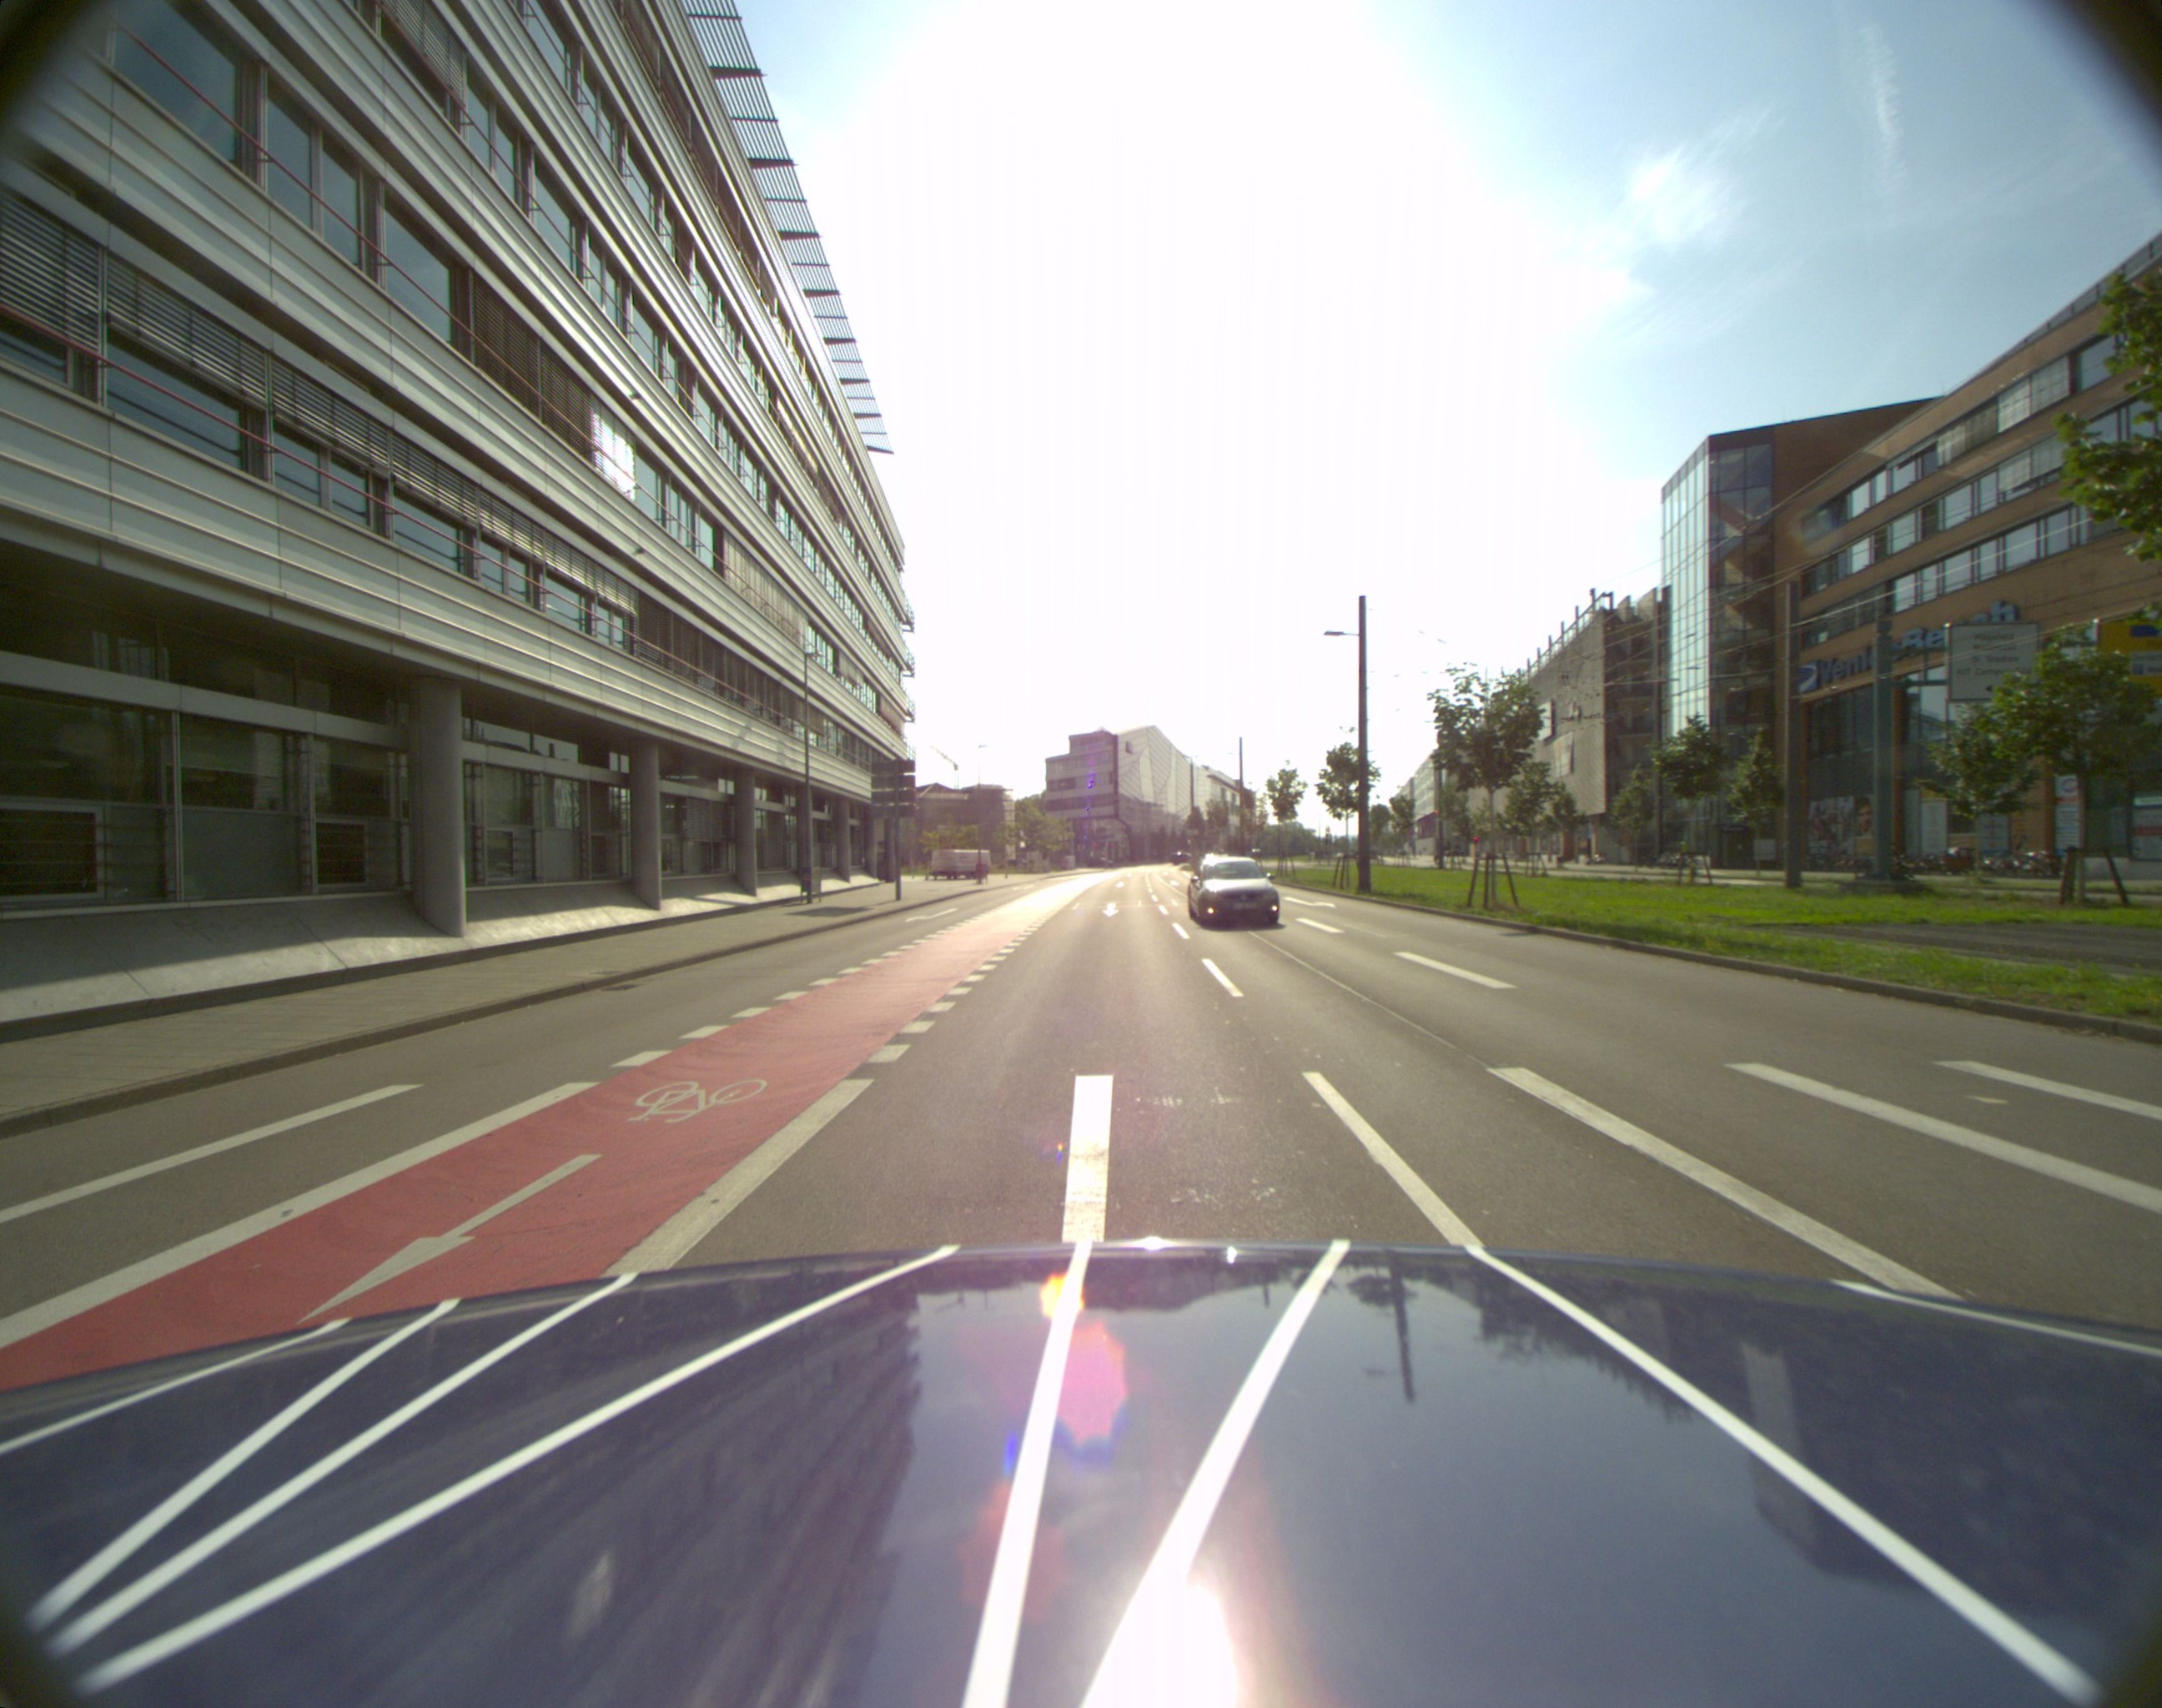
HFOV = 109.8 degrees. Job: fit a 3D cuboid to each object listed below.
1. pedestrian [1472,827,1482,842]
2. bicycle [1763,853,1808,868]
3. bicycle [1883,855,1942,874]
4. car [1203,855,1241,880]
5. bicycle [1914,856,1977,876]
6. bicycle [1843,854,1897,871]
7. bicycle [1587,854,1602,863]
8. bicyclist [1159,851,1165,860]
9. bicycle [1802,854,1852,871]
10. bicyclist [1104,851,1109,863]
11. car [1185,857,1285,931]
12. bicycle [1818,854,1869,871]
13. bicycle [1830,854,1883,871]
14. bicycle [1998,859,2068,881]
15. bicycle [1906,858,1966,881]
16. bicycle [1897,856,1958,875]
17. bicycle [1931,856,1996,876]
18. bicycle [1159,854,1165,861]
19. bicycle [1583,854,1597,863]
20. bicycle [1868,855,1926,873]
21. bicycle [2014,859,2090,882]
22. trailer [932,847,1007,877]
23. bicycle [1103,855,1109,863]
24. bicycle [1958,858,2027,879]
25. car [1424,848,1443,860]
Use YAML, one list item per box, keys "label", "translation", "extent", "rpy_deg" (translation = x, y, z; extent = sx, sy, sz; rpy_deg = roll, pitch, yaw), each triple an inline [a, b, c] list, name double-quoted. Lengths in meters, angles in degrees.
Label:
- label: "pedestrian"
  translation: [43.211, -2.134, 82.918]
  extent: [0.762, 1.570, 0.590]
  rpy_deg: [-1, 1, 15]
- label: "bicycle"
  translation: [44.052, 0.430, 47.524]
  extent: [2.051, 0.916, 0.574]
  rpy_deg: [-1, 1, 13]
- label: "bicycle"
  translation: [42.033, 0.536, 38.408]
  extent: [2.051, 0.916, 0.574]
  rpy_deg: [-1, 1, 13]
- label: "car"
  translation: [7.840, 0.716, 42.438]
  extent: [1.587, 1.335, 3.165]
  rpy_deg: [-1, 0, 2]
- label: "bicycle"
  translation: [41.717, 0.570, 36.684]
  extent: [2.051, 0.916, 0.574]
  rpy_deg: [-1, 1, 13]
- label: "bicycle"
  translation: [42.551, 0.457, 40.979]
  extent: [2.051, 0.916, 0.574]
  rpy_deg: [-1, 1, 13]
- label: "bicycle"
  translation: [45.202, 0.418, 66.938]
  extent: [1.022, 0.747, 0.361]
  rpy_deg: [-1, 1, 20]
- label: "bicyclist"
  translation: [14.093, 0.281, 131.566]
  extent: [0.781, 1.577, 0.933]
  rpy_deg: [0, 2, 25]
- label: "bicycle"
  translation: [43.131, 0.486, 43.962]
  extent: [2.051, 0.916, 0.574]
  rpy_deg: [-1, 1, 13]
- label: "bicyclist"
  translation: [3.678, 0.430, 110.685]
  extent: [0.669, 1.693, 0.637]
  rpy_deg: [-1, 2, 8]
- label: "car"
  translation: [3.395, 0.825, 17.371]
  extent: [1.643, 1.411, 3.895]
  rpy_deg: [-1, 1, 3]
- label: "bicycle"
  translation: [43.007, 0.498, 42.885]
  extent: [2.051, 0.916, 0.574]
  rpy_deg: [-1, 1, 13]
- label: "bicycle"
  translation: [42.693, 0.454, 41.841]
  extent: [2.051, 0.916, 0.574]
  rpy_deg: [-1, 1, 13]
- label: "bicycle"
  translation: [40.791, 0.668, 32.573]
  extent: [2.051, 0.916, 0.381]
  rpy_deg: [-1, 1, 13]
- label: "bicycle"
  translation: [35.915, 0.650, 31.942]
  extent: [1.679, 0.902, 0.709]
  rpy_deg: [-1, 1, 2]
- label: "bicycle"
  translation: [41.852, 0.559, 37.567]
  extent: [2.051, 0.916, 0.574]
  rpy_deg: [-1, 1, 13]
- label: "bicycle"
  translation: [41.561, 0.570, 35.795]
  extent: [2.051, 0.916, 0.574]
  rpy_deg: [-1, 1, 13]
- label: "bicycle"
  translation: [14.079, 0.591, 131.601]
  extent: [0.418, 1.050, 1.962]
  rpy_deg: [0, 2, 25]
- label: "bicycle"
  translation: [45.608, 0.406, 68.060]
  extent: [1.004, 0.747, 0.453]
  rpy_deg: [-1, 1, 20]
- label: "bicycle"
  translation: [42.154, 0.511, 39.263]
  extent: [2.051, 0.916, 0.574]
  rpy_deg: [-1, 1, 13]
- label: "bicycle"
  translation: [40.660, 0.692, 31.847]
  extent: [2.051, 0.916, 0.574]
  rpy_deg: [-1, 1, 13]
- label: "trailer"
  translation: [-8.247, 0.561, 56.968]
  extent: [2.390, 2.138, 5.960]
  rpy_deg: [-1, 0, 30]
- label: "bicycle"
  translation: [3.666, 0.746, 110.603]
  extent: [0.669, 1.092, 1.805]
  rpy_deg: [-1, 2, 8]
- label: "bicycle"
  translation: [41.025, 0.646, 34.203]
  extent: [2.051, 0.916, 0.574]
  rpy_deg: [-1, 1, 13]
- label: "car"
  translation: [38.128, -0.004, 82.248]
  extent: [1.367, 1.199, 2.640]
  rpy_deg: [0, 2, 13]
